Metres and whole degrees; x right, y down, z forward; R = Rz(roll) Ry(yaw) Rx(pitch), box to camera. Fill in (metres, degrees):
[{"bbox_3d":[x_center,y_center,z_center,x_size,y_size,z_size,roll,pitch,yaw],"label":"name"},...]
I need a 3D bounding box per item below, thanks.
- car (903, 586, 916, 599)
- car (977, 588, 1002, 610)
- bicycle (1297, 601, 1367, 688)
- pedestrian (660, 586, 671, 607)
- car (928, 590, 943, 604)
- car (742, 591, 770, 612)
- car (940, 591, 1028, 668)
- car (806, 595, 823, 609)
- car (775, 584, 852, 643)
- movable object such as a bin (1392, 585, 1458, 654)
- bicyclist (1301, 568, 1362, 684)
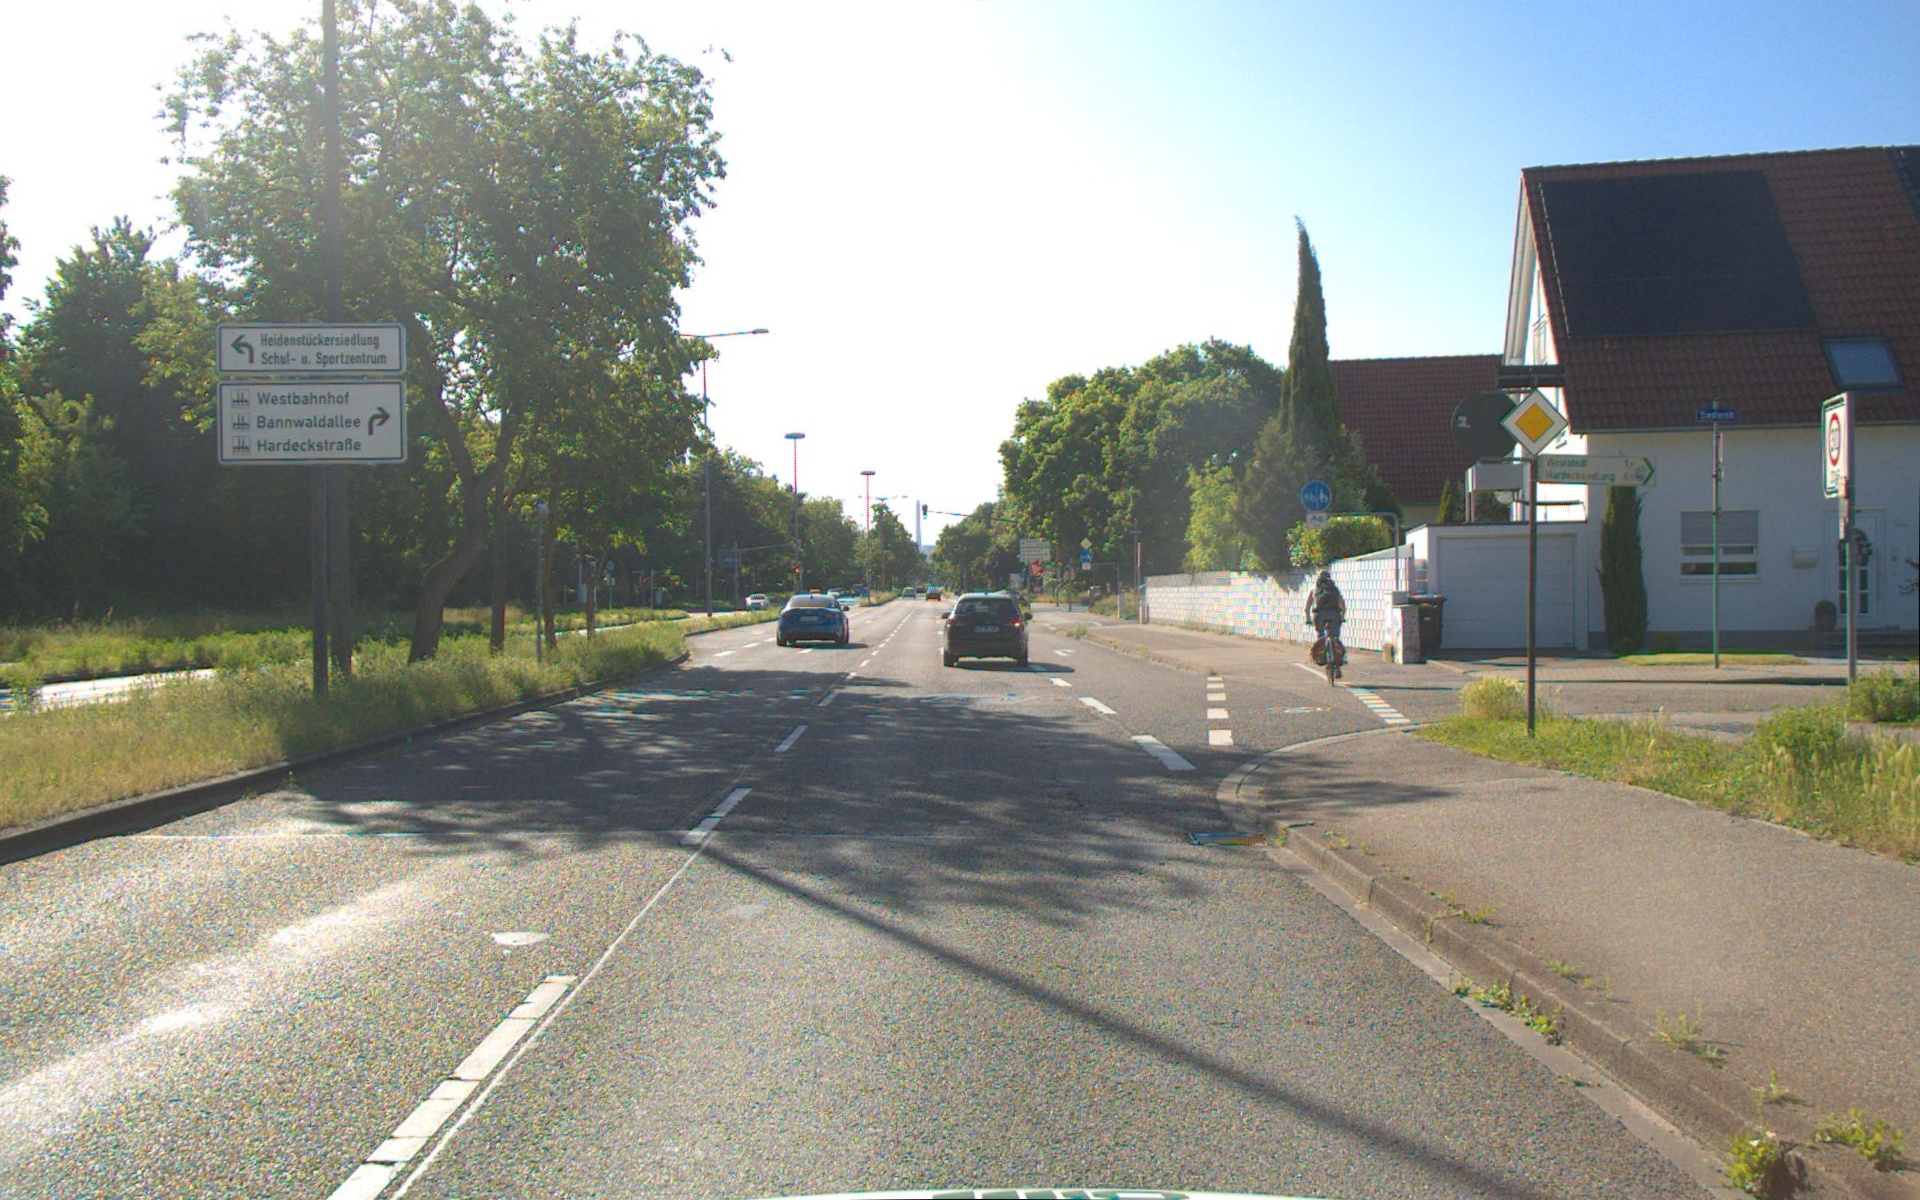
[{"bbox_3d":[-6.973,-1.015,229.350,1.788,1.643,3.838,1,0,-2],"label":"car"},{"bbox_3d":[2.111,-0.080,117.438,1.696,1.485,3.841,0,0,2],"label":"car"},{"bbox_3d":[5.542,0.638,24.741,0.562,1.175,2.141,-4,1,2],"label":"bicycle"},{"bbox_3d":[-26.993,-0.316,151.591,0.828,1.867,0.550,0,0,2],"label":"pedestrian"},{"bbox_3d":[-3.005,-0.322,200.990,1.697,1.613,3.839,1,0,-1],"label":"car"},{"bbox_3d":[-17.680,0.180,143.626,1.873,1.733,4.407,1,-1,0],"label":"car"},{"bbox_3d":[0.447,0.588,34.558,1.720,1.535,3.807,0,0,-1],"label":"car"},{"bbox_3d":[-18.681,0.267,212.587,1.826,1.713,4.259,1,0,-1],"label":"car"},{"bbox_3d":[-4.110,0.370,46.931,1.850,1.579,3.999,-1,0,-1],"label":"car"},{"bbox_3d":[8.672,0.370,30.903,0.980,1.226,1.063,-2,-1,6],"label":"movable object such as a bin"},{"bbox_3d":[5.544,0.378,24.712,0.617,1.661,0.982,-4,1,2],"label":"bicyclist"}]
